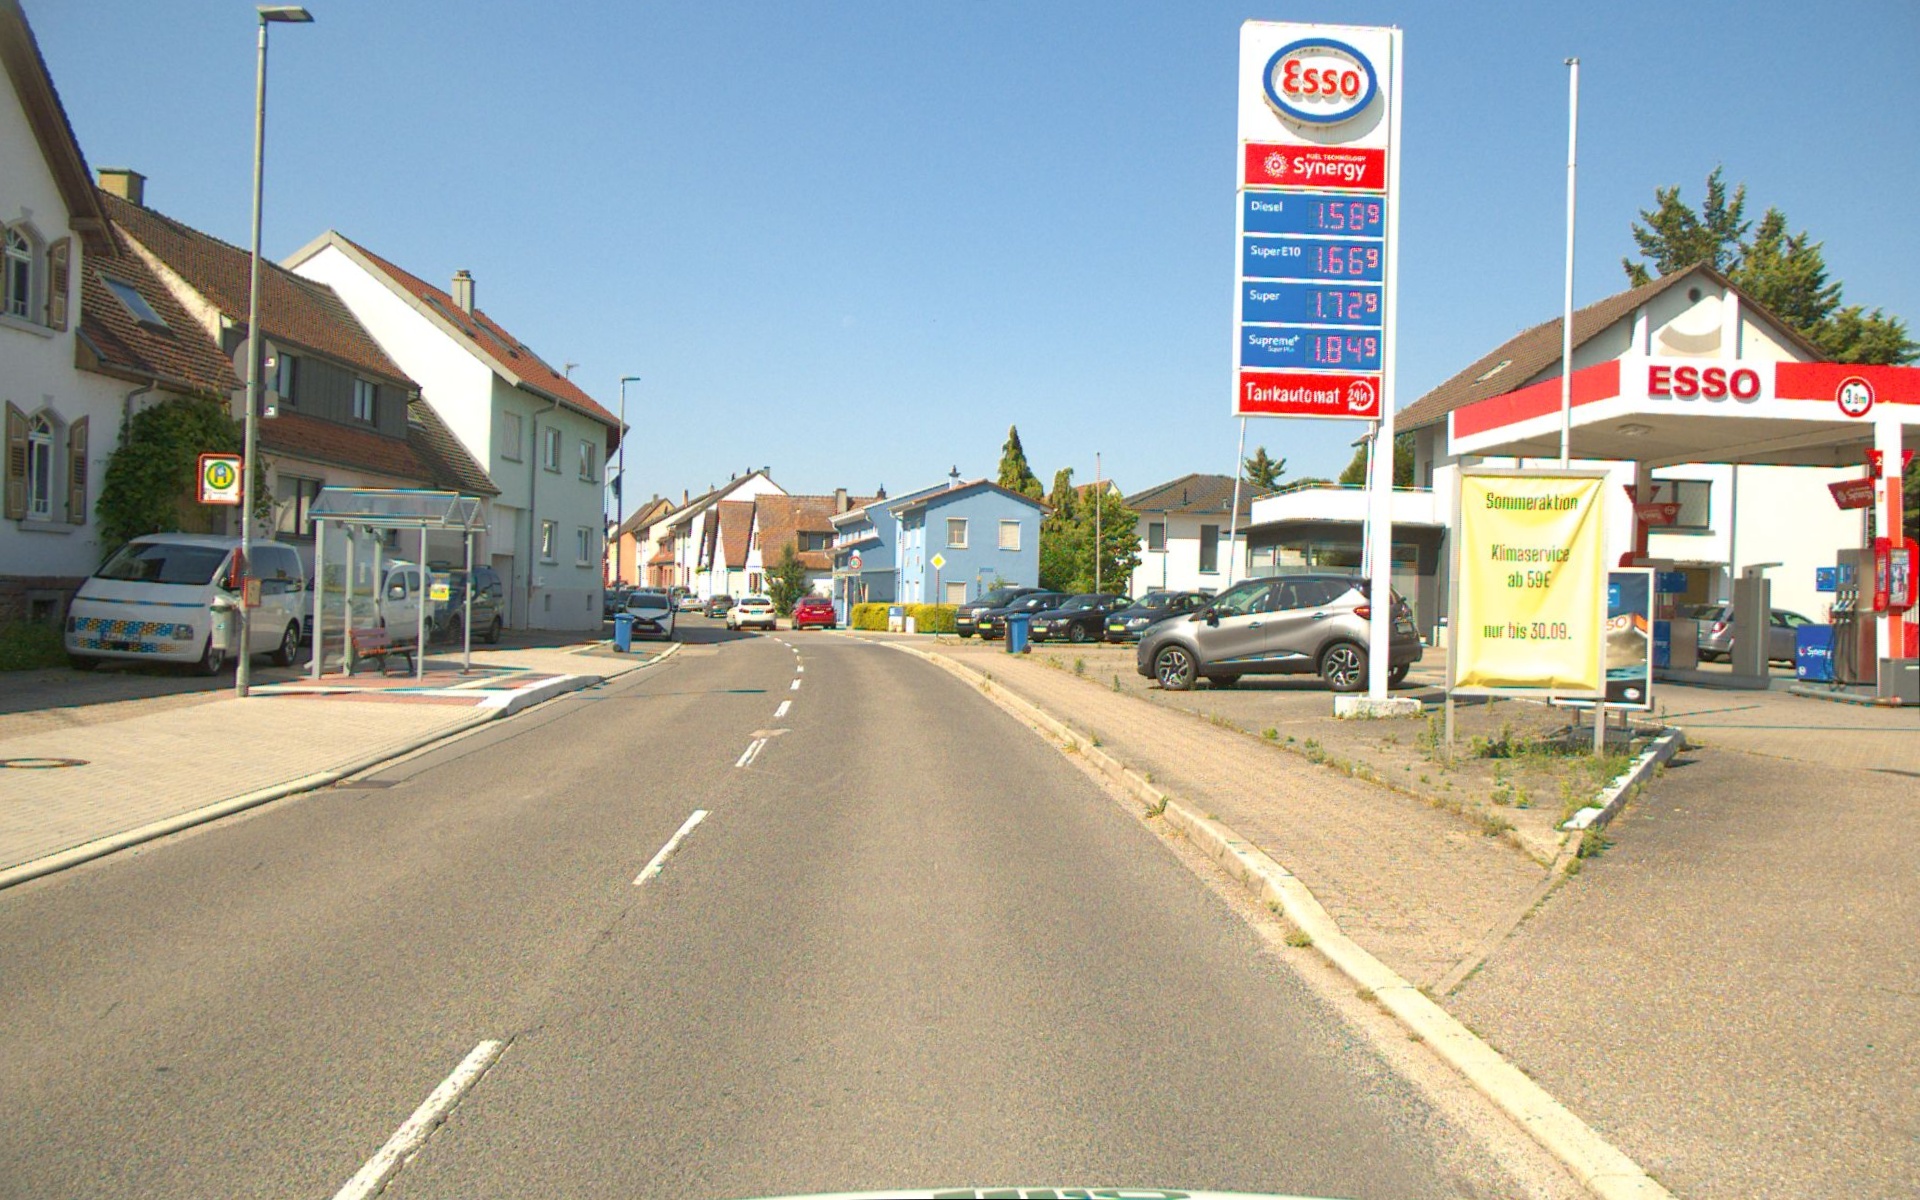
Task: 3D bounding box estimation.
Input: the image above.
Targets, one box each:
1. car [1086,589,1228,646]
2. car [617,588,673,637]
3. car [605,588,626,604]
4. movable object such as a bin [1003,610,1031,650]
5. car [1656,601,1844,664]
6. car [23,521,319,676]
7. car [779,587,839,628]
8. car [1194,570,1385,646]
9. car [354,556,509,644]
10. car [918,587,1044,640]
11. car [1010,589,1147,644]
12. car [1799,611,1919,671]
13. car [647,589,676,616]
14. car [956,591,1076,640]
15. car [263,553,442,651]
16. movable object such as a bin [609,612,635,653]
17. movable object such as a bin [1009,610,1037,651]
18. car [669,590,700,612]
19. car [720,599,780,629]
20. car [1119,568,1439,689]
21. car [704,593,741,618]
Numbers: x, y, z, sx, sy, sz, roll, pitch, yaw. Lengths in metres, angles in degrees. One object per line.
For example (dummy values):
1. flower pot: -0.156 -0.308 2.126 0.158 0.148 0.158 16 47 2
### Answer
1. car: 5.771 0.480 48.142 1.951 1.578 4.287 0 0 44
2. car: -10.093 0.398 53.190 1.653 1.487 3.640 2 -1 -10
3. car: -33.704 -0.397 161.781 1.739 1.458 3.433 1 0 -17
4. movable object such as a bin: 1.371 0.716 39.732 0.548 0.953 0.513 1 0 -14
5. car: 20.016 0.815 41.982 3.985 1.505 1.808 1 0 -8
6. car: -11.611 0.007 24.836 2.084 2.021 5.262 2 -1 -3
7. car: -6.868 0.296 74.876 1.706 1.520 4.333 0 4 -19
8. car: 9.371 0.225 46.907 5.214 2.049 2.209 0 0 -31
9. car: -12.154 0.008 38.360 1.798 1.824 4.345 4 0 4
10. car: 0.718 0.432 54.451 4.082 1.682 1.802 0 0 -44
11. car: 3.591 0.483 49.721 1.949 1.593 4.213 0 0 42
12. car: 26.206 1.197 47.009 3.978 1.505 1.811 3 -1 21
13. car: -22.737 0.180 126.054 1.624 1.943 3.606 2 0 -18
14. car: 1.798 0.484 51.973 1.720 1.472 3.850 0 0 42
15. car: -12.208 0.056 33.556 1.927 1.805 4.277 2 -1 1
16. movable object such as a bin: -8.288 0.790 40.574 0.548 0.953 0.513 3 -1 -14
17. movable object such as a bin: 1.484 0.712 39.201 0.548 0.955 0.513 1 0 -14
18. car: -20.239 0.036 121.436 1.678 1.523 3.434 2 0 -18
19. car: -9.324 0.607 73.289 1.963 1.311 3.980 1 0 -18
20. car: 4.480 0.418 23.438 4.094 1.582 1.769 -1 -1 33
21. car: -15.174 0.337 105.590 1.678 1.458 3.869 2 0 -18
